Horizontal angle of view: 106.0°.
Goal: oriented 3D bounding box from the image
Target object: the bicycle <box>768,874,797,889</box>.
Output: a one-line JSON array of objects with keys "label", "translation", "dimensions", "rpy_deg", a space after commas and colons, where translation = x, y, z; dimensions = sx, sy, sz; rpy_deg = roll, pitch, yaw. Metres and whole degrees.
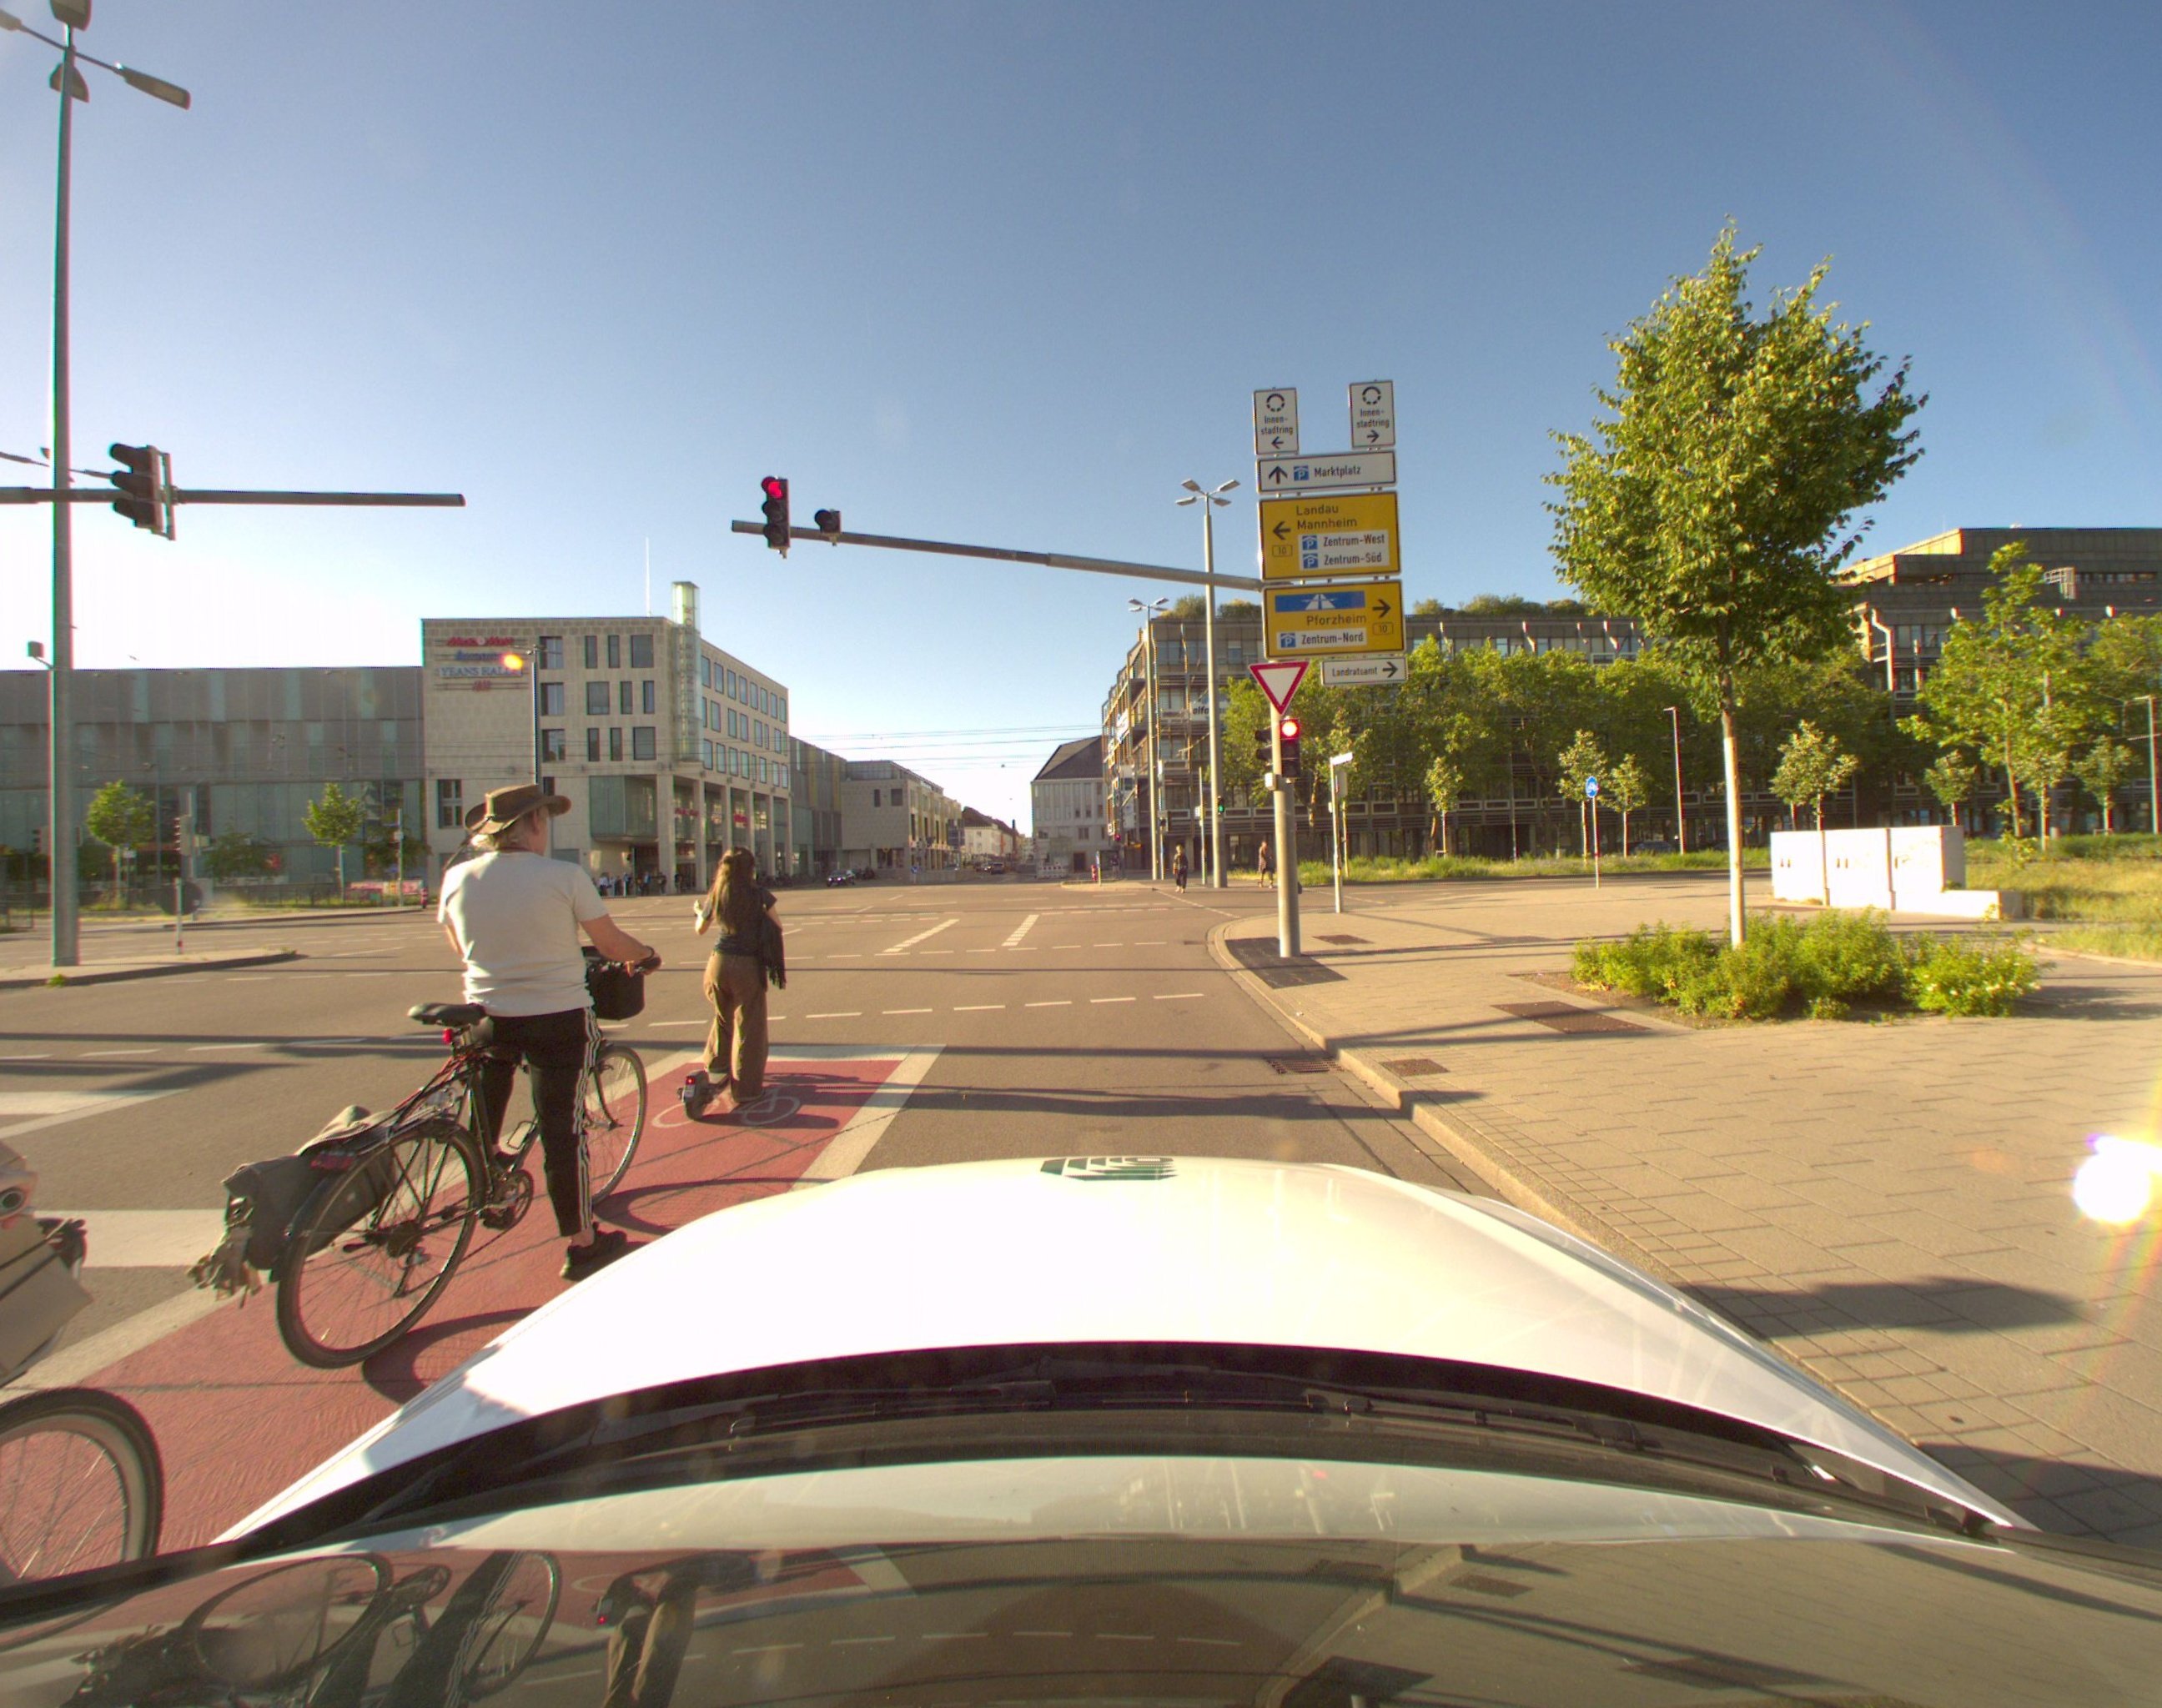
[{"label": "bicycle", "translation": [-26.738, 2.439, 72.892], "dimensions": [2.299, 1.222, 0.612], "rpy_deg": [-2, -1, -1]}]

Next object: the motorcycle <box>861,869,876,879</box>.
[{"label": "motorcycle", "translation": [-25.776, 2.436, 98.735], "dimensions": [1.807, 1.206, 0.509], "rpy_deg": [0, 0, -14]}]

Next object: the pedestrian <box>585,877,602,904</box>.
[{"label": "pedestrian", "translation": [-34.996, 2.597, 58.429], "dimensions": [0.783, 1.885, 0.716], "rpy_deg": [0, -1, -4]}]

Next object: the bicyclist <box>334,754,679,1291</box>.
[{"label": "bicyclist", "translation": [-2.061, 0.544, 3.055], "dimensions": [0.658, 1.720, 0.866], "rpy_deg": [0, -1, 1]}]

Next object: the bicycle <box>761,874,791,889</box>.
[{"label": "bicycle", "translation": [-26.460, 2.418, 70.648], "dimensions": [2.299, 1.222, 0.612], "rpy_deg": [-2, -1, -1]}]

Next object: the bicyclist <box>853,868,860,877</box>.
[{"label": "bicyclist", "translation": [-26.307, 2.150, 95.362], "dimensions": [0.505, 1.084, 0.629], "rpy_deg": [0, 0, 45]}]

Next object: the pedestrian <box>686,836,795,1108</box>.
[{"label": "pedestrian", "translation": [-2.167, 0.707, 5.237], "dimensions": [0.549, 1.633, 0.569], "rpy_deg": [0, -1, -13]}]

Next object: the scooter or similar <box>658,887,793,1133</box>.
[{"label": "scooter or similar", "translation": [-2.161, 0.871, 5.068], "dimensions": [0.547, 1.294, 1.188], "rpy_deg": [0, -1, -13]}]

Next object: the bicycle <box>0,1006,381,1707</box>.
[{"label": "bicycle", "translation": [-1.681, 0.913, 0.684], "dimensions": [0.614, 1.218, 1.831], "rpy_deg": [0, 0, -1]}]

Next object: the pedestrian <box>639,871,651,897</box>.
[{"label": "pedestrian", "translation": [-31.142, 2.134, 58.175], "dimensions": [0.718, 1.885, 0.781], "rpy_deg": [0, -1, -25]}]

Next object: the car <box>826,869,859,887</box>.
[{"label": "car", "translation": [-20.622, 2.054, 70.503], "dimensions": [1.625, 1.342, 3.999], "rpy_deg": [-4, -1, 0]}]

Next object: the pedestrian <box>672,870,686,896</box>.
[{"label": "pedestrian", "translation": [-29.105, 2.067, 58.936], "dimensions": [0.801, 1.843, 0.855], "rpy_deg": [-2, 0, -30]}]

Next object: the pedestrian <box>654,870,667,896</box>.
[{"label": "pedestrian", "translation": [-30.791, 2.119, 59.663], "dimensions": [0.800, 1.843, 0.856], "rpy_deg": [-2, 0, -26]}]

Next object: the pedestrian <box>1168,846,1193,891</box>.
[{"label": "pedestrian", "translation": [3.322, 0.488, 27.263], "dimensions": [0.785, 1.492, 0.644], "rpy_deg": [0, -1, 1]}]

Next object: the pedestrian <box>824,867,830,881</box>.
[{"label": "pedestrian", "translation": [-30.799, 2.384, 98.759], "dimensions": [0.570, 1.679, 0.614], "rpy_deg": [0, 0, -8]}]

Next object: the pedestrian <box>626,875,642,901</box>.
[{"label": "pedestrian", "translation": [-32.511, 2.468, 59.240], "dimensions": [0.783, 1.885, 0.716], "rpy_deg": [0, -1, -4]}]

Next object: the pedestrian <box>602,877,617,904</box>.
[{"label": "pedestrian", "translation": [-33.991, 2.625, 58.717], "dimensions": [0.714, 1.885, 0.786], "rpy_deg": [0, -1, -6]}]

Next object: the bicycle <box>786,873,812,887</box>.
[{"label": "bicycle", "translation": [-27.060, 2.485, 78.128], "dimensions": [2.299, 1.222, 0.612], "rpy_deg": [-2, -1, -1]}]

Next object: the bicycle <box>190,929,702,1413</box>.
[{"label": "bicycle", "translation": [-2.153, 0.944, 3.131], "dimensions": [0.483, 1.156, 1.832], "rpy_deg": [0, -1, 2]}]

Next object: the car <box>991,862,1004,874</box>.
[{"label": "car", "translation": [-11.131, 1.867, 108.650], "dimensions": [1.735, 1.531, 3.848], "rpy_deg": [0, -1, -5]}]

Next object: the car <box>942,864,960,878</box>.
[{"label": "car", "translation": [-16.398, 2.117, 102.875], "dimensions": [1.793, 1.657, 3.997], "rpy_deg": [0, -1, -2]}]

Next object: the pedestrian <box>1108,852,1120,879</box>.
[{"label": "pedestrian", "translation": [2.325, 0.819, 57.405], "dimensions": [0.785, 1.890, 0.644], "rpy_deg": [0, -1, 1]}]

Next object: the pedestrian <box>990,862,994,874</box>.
[{"label": "pedestrian", "translation": [-12.805, 2.070, 117.389], "dimensions": [0.520, 1.679, 0.582], "rpy_deg": [0, 0, -5]}]

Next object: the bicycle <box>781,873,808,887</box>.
[{"label": "bicycle", "translation": [-26.694, 2.465, 75.960], "dimensions": [2.299, 1.222, 0.612], "rpy_deg": [-2, -1, -1]}]

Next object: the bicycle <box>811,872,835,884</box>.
[{"label": "bicycle", "translation": [-27.419, 2.559, 86.643], "dimensions": [2.299, 1.222, 0.612], "rpy_deg": [-2, -1, -1]}]

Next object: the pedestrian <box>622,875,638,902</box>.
[{"label": "pedestrian", "translation": [-31.945, 2.451, 57.689], "dimensions": [0.783, 1.885, 0.716], "rpy_deg": [0, -1, -4]}]

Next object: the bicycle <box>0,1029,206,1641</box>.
[{"label": "bicycle", "translation": [-2.428, 0.982, 0.973], "dimensions": [0.645, 1.109, 1.970], "rpy_deg": [0, 0, -1]}]

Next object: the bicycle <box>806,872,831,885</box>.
[{"label": "bicycle", "translation": [-27.584, 2.552, 85.578], "dimensions": [2.299, 1.222, 0.612], "rpy_deg": [-2, -1, -1]}]

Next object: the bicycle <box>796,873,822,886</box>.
[{"label": "bicycle", "translation": [-27.181, 2.513, 81.339], "dimensions": [2.299, 1.222, 0.612], "rpy_deg": [-2, -1, -1]}]

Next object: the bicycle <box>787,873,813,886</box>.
[{"label": "bicycle", "translation": [-27.626, 2.506, 80.123], "dimensions": [2.299, 1.222, 0.612], "rpy_deg": [-2, -1, -1]}]

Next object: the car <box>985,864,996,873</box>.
[{"label": "car", "translation": [-17.693, 2.888, 158.680], "dimensions": [1.793, 1.657, 3.997], "rpy_deg": [0, -1, -2]}]

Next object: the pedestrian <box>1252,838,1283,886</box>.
[{"label": "pedestrian", "translation": [6.587, 0.277, 28.798], "dimensions": [0.875, 1.665, 0.965], "rpy_deg": [0, -1, 1]}]

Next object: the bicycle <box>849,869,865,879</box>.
[{"label": "bicycle", "translation": [-26.240, 2.342, 95.424], "dimensions": [1.820, 1.206, 0.505], "rpy_deg": [-1, 0, -43]}]

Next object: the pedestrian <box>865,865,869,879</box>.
[{"label": "pedestrian", "translation": [-26.096, 2.197, 99.352], "dimensions": [0.521, 1.679, 0.580], "rpy_deg": [0, 0, -12]}]

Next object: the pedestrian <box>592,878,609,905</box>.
[{"label": "pedestrian", "translation": [-33.868, 2.613, 57.370], "dimensions": [0.783, 1.885, 0.716], "rpy_deg": [0, -1, -4]}]

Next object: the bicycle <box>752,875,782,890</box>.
[{"label": "bicycle", "translation": [-26.732, 2.410, 69.371], "dimensions": [2.299, 1.222, 0.612], "rpy_deg": [-2, -1, -1]}]

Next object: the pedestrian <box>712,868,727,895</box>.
[{"label": "pedestrian", "translation": [-27.066, 2.040, 60.944], "dimensions": [0.883, 2.014, 0.771], "rpy_deg": [0, -1, -9]}]

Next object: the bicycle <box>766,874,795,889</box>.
[{"label": "bicycle", "translation": [-26.563, 2.431, 72.007], "dimensions": [2.299, 1.222, 0.612], "rpy_deg": [-2, -1, -1]}]

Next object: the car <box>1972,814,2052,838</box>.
[{"label": "car", "translation": [63.895, -1.915, 55.916], "dimensions": [3.984, 1.342, 1.631], "rpy_deg": [-4, -1, -7]}]

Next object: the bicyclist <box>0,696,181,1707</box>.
[{"label": "bicyclist", "translation": [-1.681, 0.592, 0.789], "dimensions": [0.639, 1.579, 0.875], "rpy_deg": [0, 0, -1]}]
